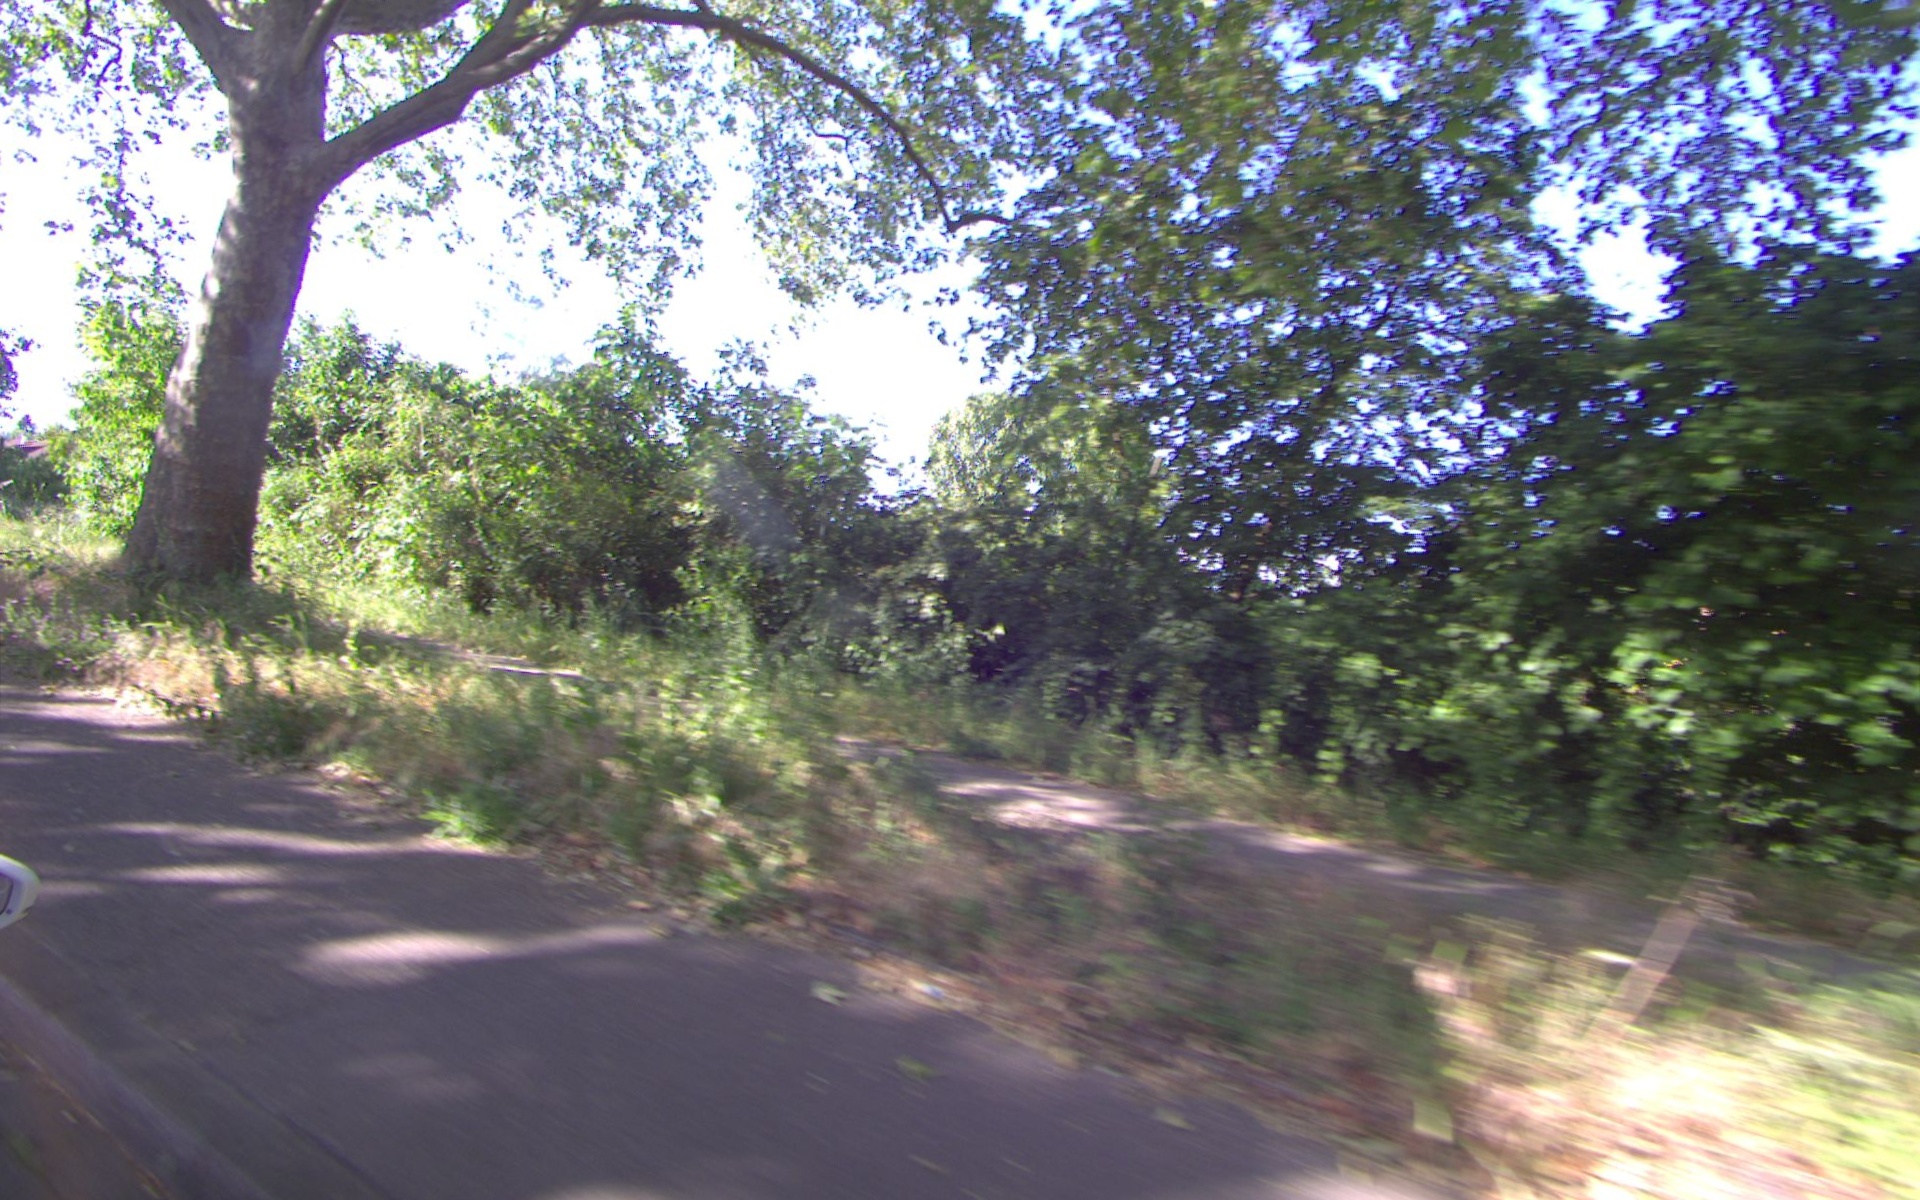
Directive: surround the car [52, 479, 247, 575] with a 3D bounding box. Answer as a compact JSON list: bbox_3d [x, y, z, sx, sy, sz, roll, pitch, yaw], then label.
[{"bbox_3d":[-28.828,-2.513,36.074,2.285,2.466,5.008,8,-3,8],"label":"car"}]
